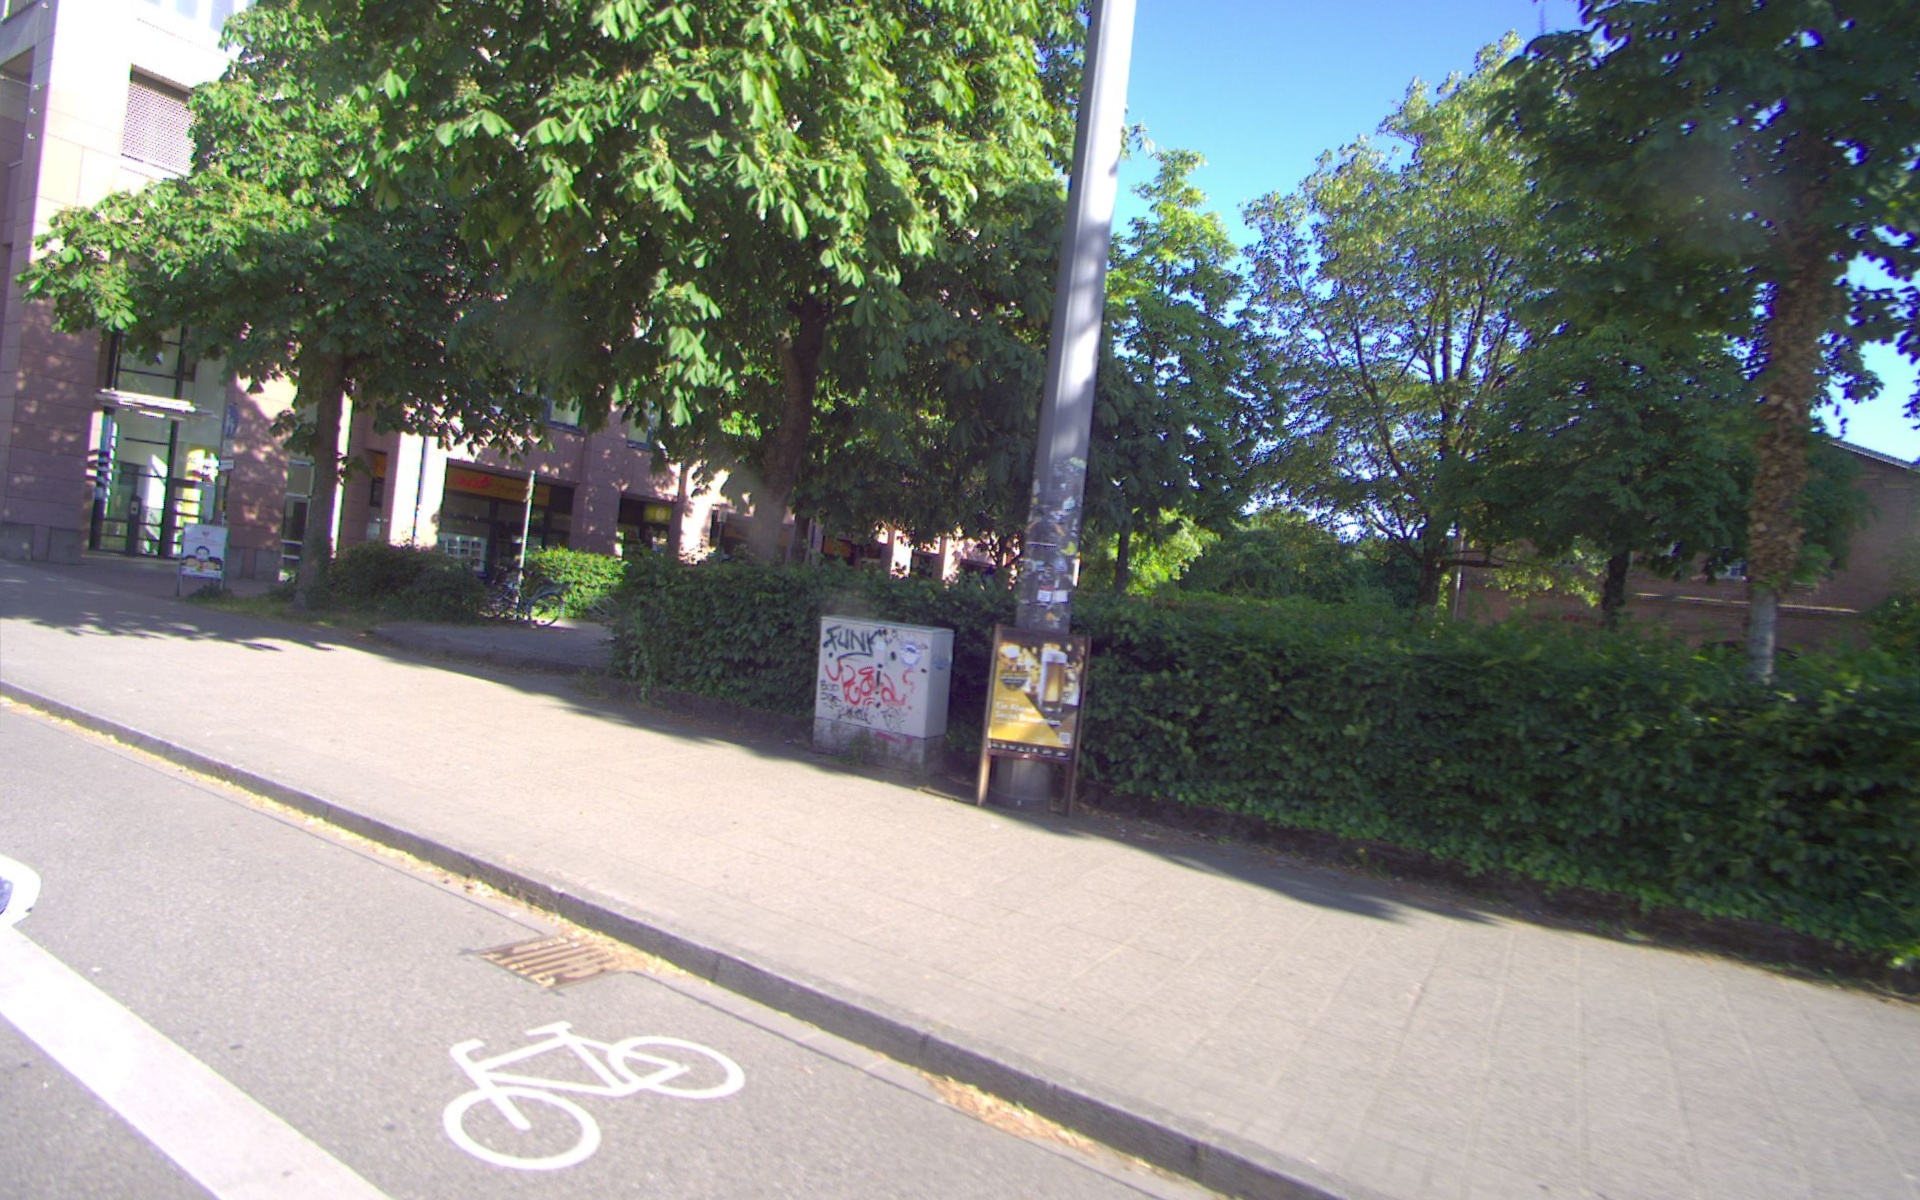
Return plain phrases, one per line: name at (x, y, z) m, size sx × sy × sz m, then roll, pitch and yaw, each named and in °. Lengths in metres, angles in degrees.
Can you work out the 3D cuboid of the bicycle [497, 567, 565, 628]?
bicycle at (-8.194, -0.065, 19.175) m, size 0.417 × 1.009 × 2.196 m, roll 6°, pitch -1°, yaw -42°
